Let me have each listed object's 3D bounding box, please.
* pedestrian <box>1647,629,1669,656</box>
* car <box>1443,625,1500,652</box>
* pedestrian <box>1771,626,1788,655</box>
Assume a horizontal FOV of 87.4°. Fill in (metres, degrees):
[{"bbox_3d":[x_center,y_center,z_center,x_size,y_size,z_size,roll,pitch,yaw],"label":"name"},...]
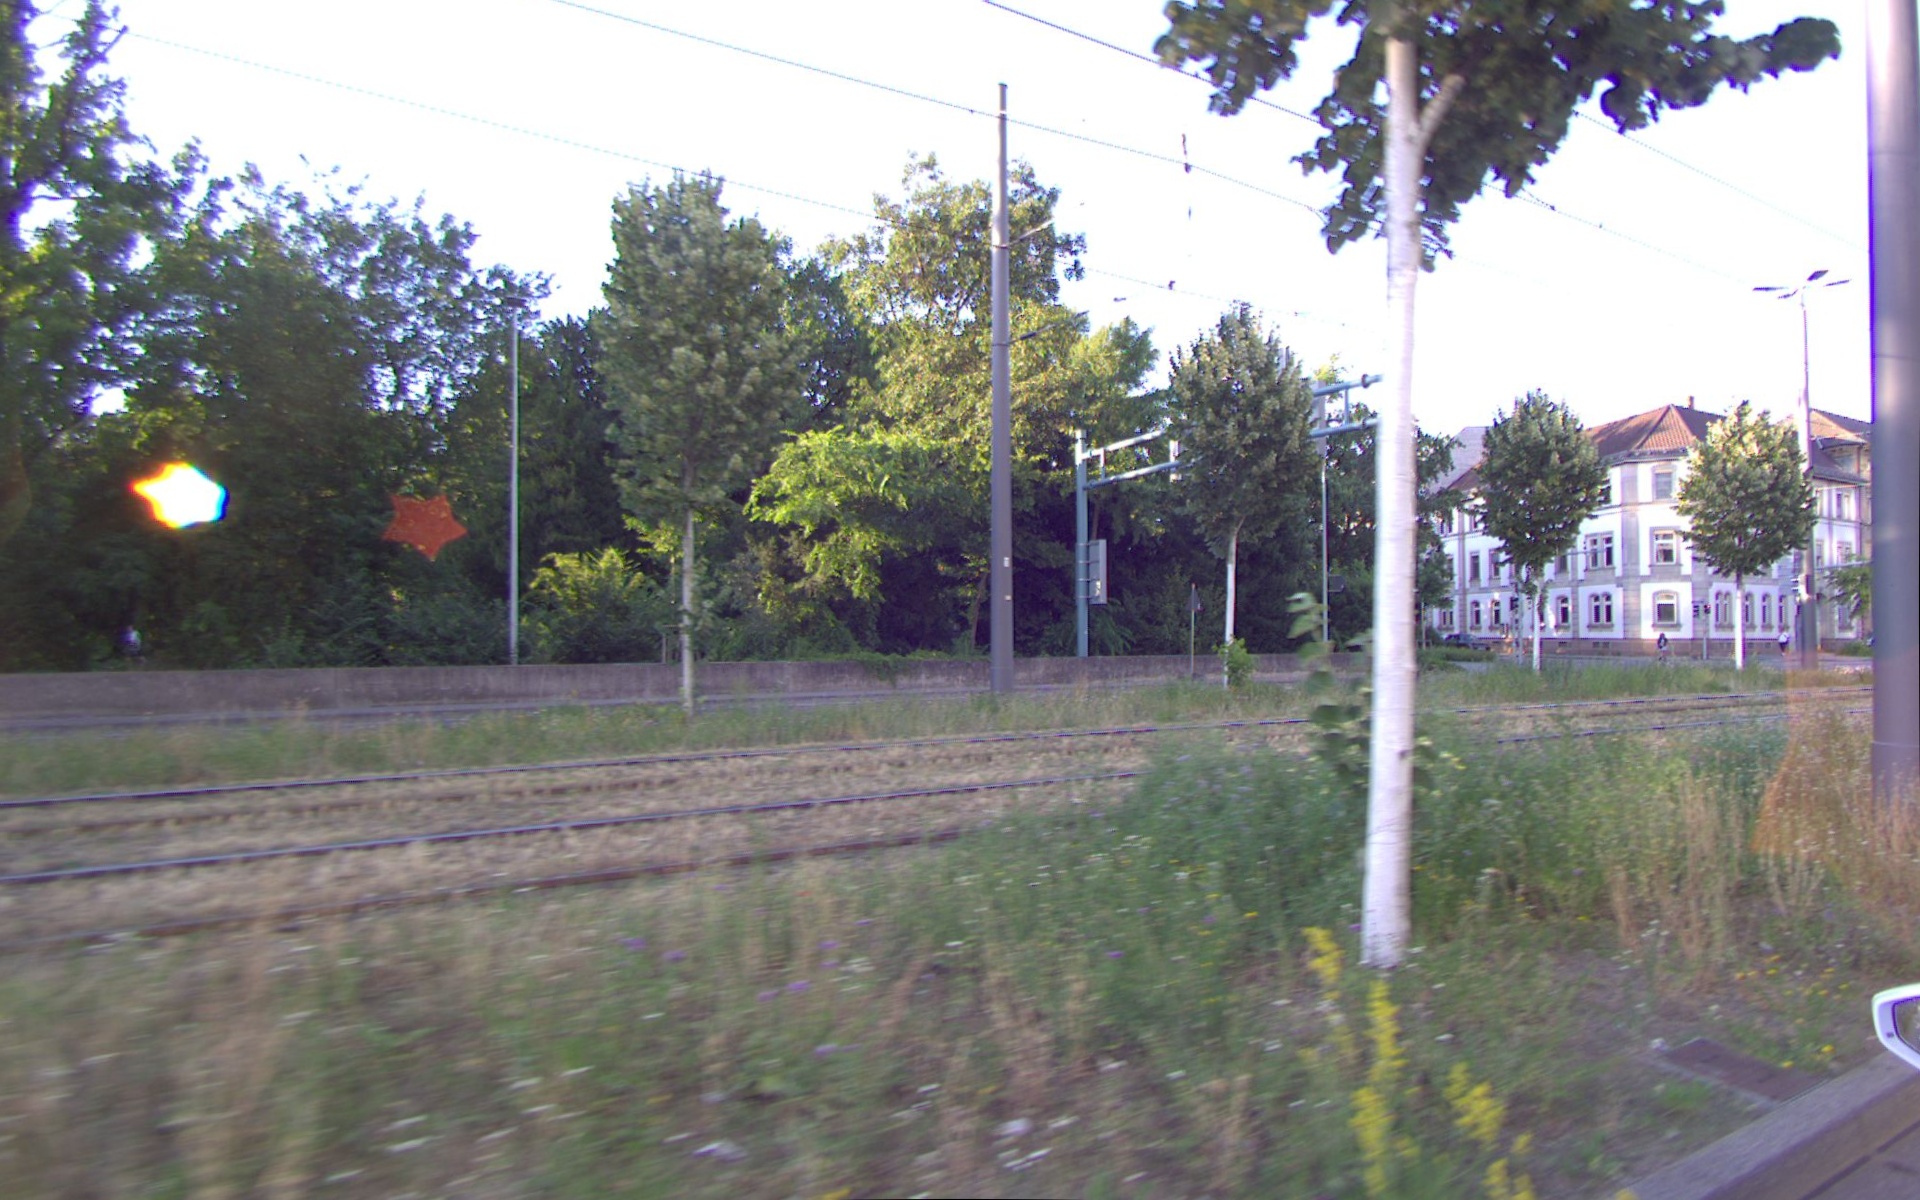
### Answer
[{"bbox_3d":[38.172,2.318,54.933,0.924,1.478,0.601,1,1,-28],"label":"pedestrian"},{"bbox_3d":[33.690,2.507,66.294,1.755,1.576,4.000,1,0,0],"label":"car"},{"bbox_3d":[50.829,2.508,62.268,0.807,1.739,0.695,0,1,-43],"label":"pedestrian"}]
